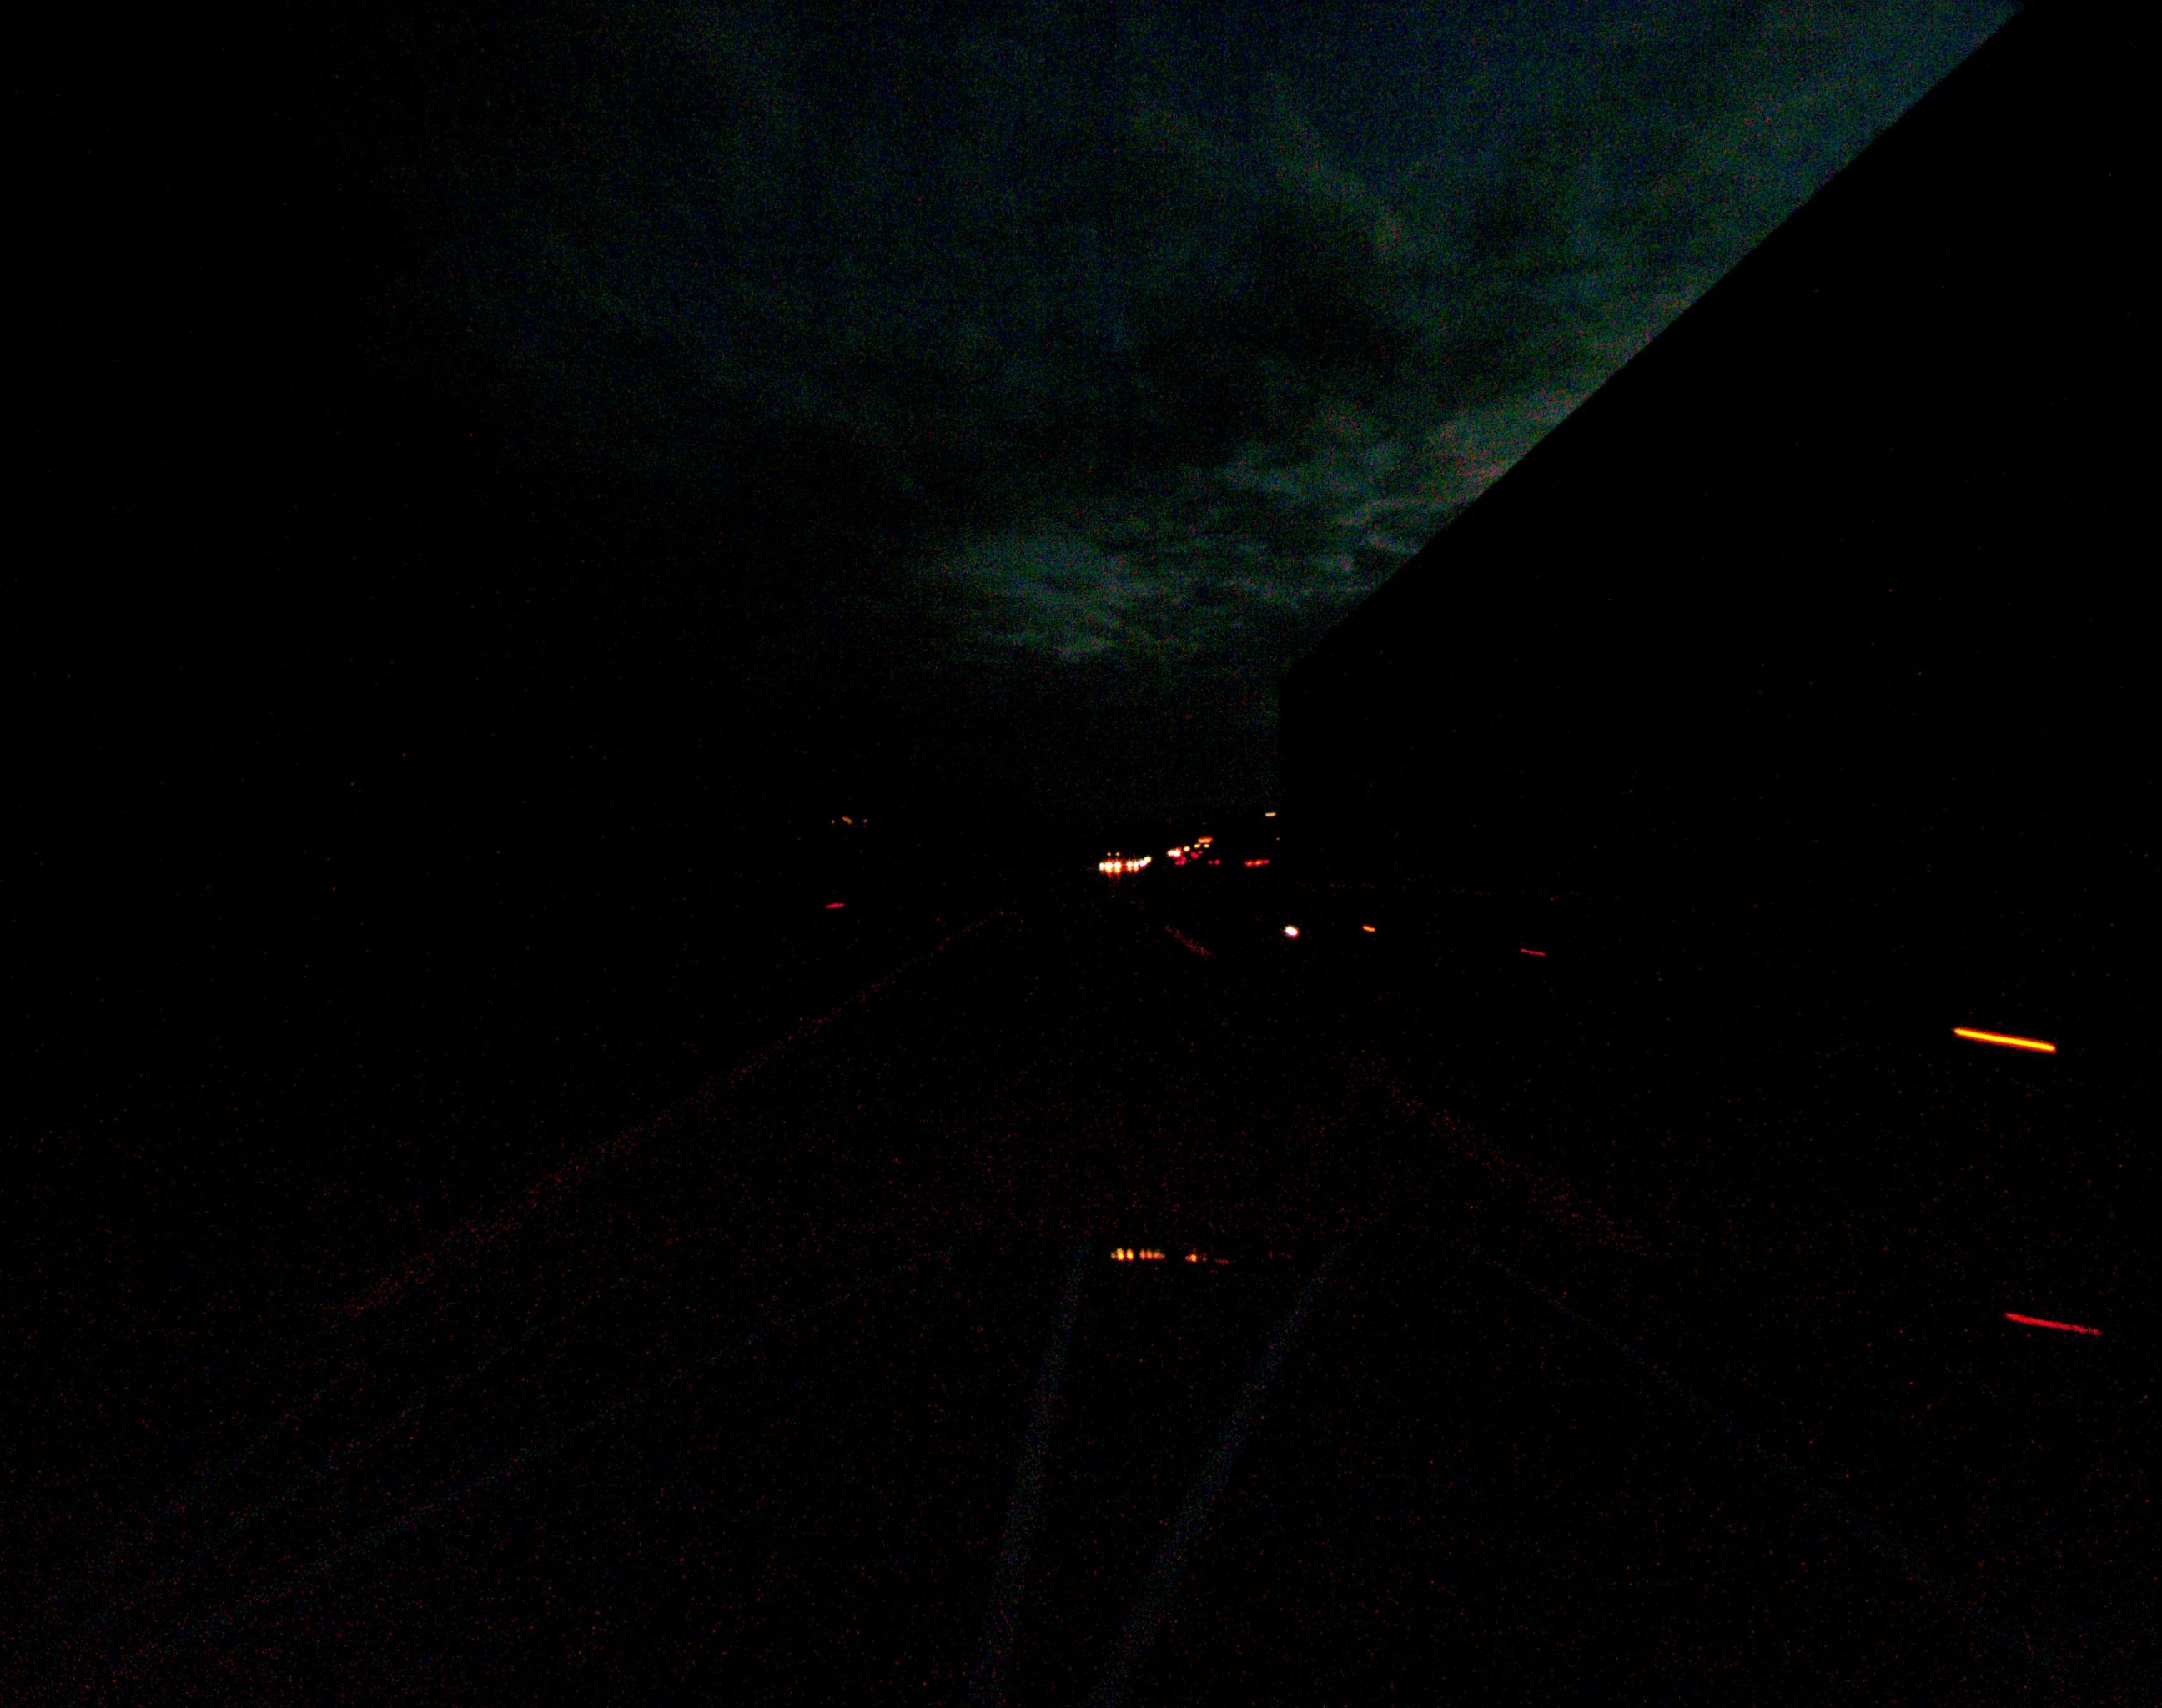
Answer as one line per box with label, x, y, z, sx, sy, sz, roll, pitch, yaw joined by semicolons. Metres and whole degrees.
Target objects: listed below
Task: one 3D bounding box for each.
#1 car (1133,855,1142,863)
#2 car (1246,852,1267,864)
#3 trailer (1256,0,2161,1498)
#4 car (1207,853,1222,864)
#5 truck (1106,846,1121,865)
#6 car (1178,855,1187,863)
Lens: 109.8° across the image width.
car;13.693;1.231;185.481;1.998;2.002;4.001;-1;0;3
car;25.039;0.622;108.778;1.998;1.600;4.559;-2;0;1
trailer;4.045;-0.344;3.207;2.781;3.892;14.817;-1;0;-1
car;26.962;0.887;153.633;1.999;2.002;3.999;-3;0;-3
truck;7.596;0.309;174.945;3.352;4.293;11.327;-1;0;3
car;27.996;1.355;210.323;1.998;2.002;4.489;-2;0;2
